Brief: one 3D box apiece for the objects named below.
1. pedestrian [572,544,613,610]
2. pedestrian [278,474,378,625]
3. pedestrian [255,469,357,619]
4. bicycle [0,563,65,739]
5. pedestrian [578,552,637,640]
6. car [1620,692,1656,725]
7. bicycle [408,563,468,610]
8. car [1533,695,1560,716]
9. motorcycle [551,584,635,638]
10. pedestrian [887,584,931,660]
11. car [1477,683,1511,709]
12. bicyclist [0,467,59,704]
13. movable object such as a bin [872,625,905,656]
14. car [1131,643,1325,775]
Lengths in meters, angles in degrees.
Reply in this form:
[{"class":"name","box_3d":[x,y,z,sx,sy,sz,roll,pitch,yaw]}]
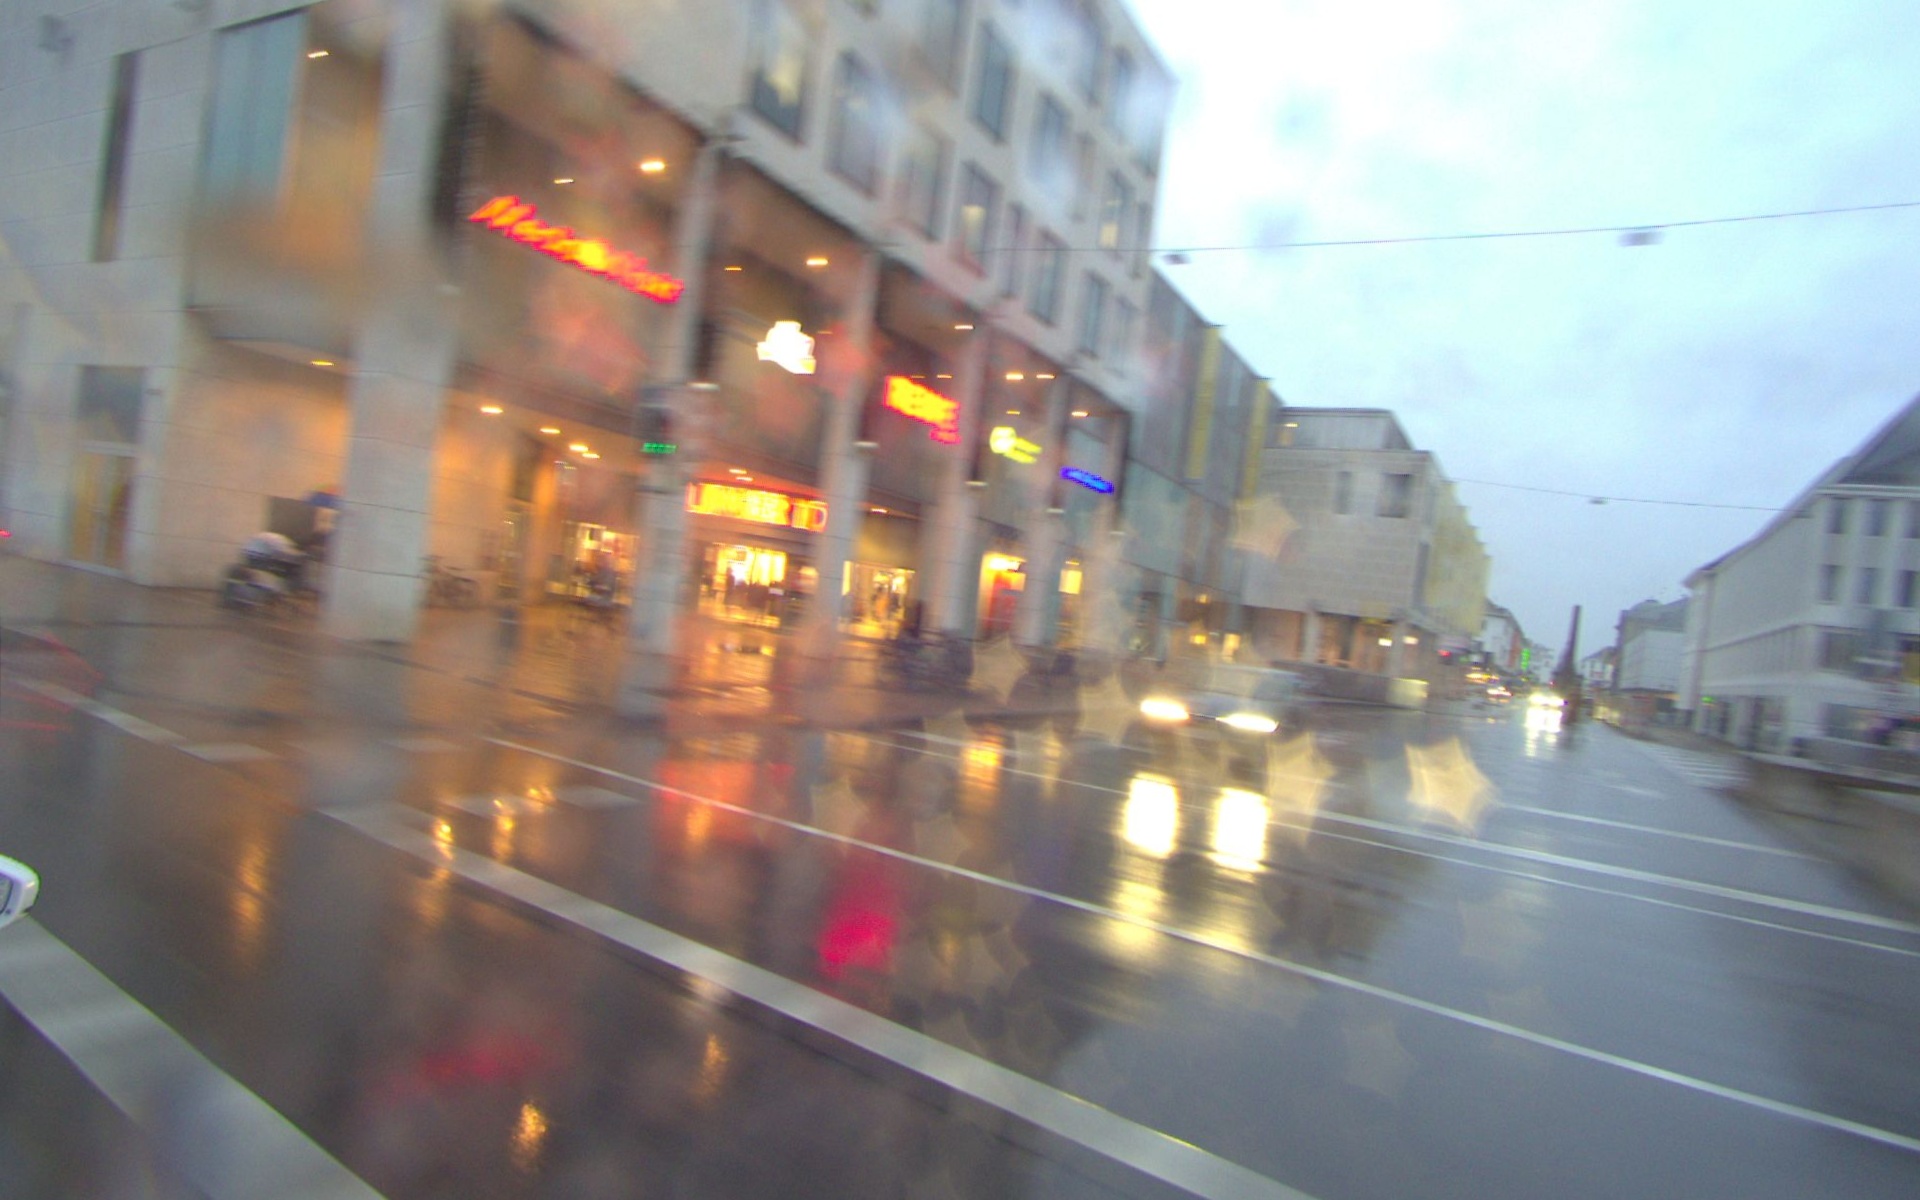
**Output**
[{"class":"pedestrian","box_3d":[-10.037,-0.621,27.485,0.612,1.693,0.617,9,0,7]},{"class":"pedestrian","box_3d":[-9.812,-0.774,15.639,0.572,2.188,0.964,8,0,39]},{"class":"pedestrian","box_3d":[-10.347,-0.875,15.926,0.700,2.218,0.958,8,0,39]},{"class":"bicycle","box_3d":[-6.849,0.212,6.507,2.203,1.011,0.944,7,-1,33]},{"class":"pedestrian","box_3d":[-6.976,-0.068,19.933,0.492,1.627,0.779,9,0,28]},{"class":"car","box_3d":[59.480,9.554,88.306,1.935,2.529,3.997,8,-1,29]},{"class":"bicycle","box_3d":[-10.798,-0.275,20.841,0.338,0.873,1.068,8,1,21]},{"class":"car","box_3d":[55.927,10.017,95.849,1.873,1.706,3.927,8,0,33]},{"class":"motorcycle","box_3d":[-7.343,0.238,20.202,0.388,0.900,1.636,9,-1,28]},{"class":"pedestrian","box_3d":[-1.401,0.596,27.551,0.621,1.931,0.835,8,0,-30]},{"class":"car","box_3d":[42.035,7.512,79.112,1.873,1.706,3.927,8,0,33]},{"class":"bicyclist","box_3d":[-6.570,-0.168,6.345,1.049,1.480,0.944,8,0,32]},{"class":"movable object such as a bin","box_3d":[-1.934,1.092,27.074,0.591,0.714,0.653,9,0,-28]},{"class":"car","box_3d":[4.154,1.567,15.169,1.826,1.509,3.822,6,-1,29]}]
